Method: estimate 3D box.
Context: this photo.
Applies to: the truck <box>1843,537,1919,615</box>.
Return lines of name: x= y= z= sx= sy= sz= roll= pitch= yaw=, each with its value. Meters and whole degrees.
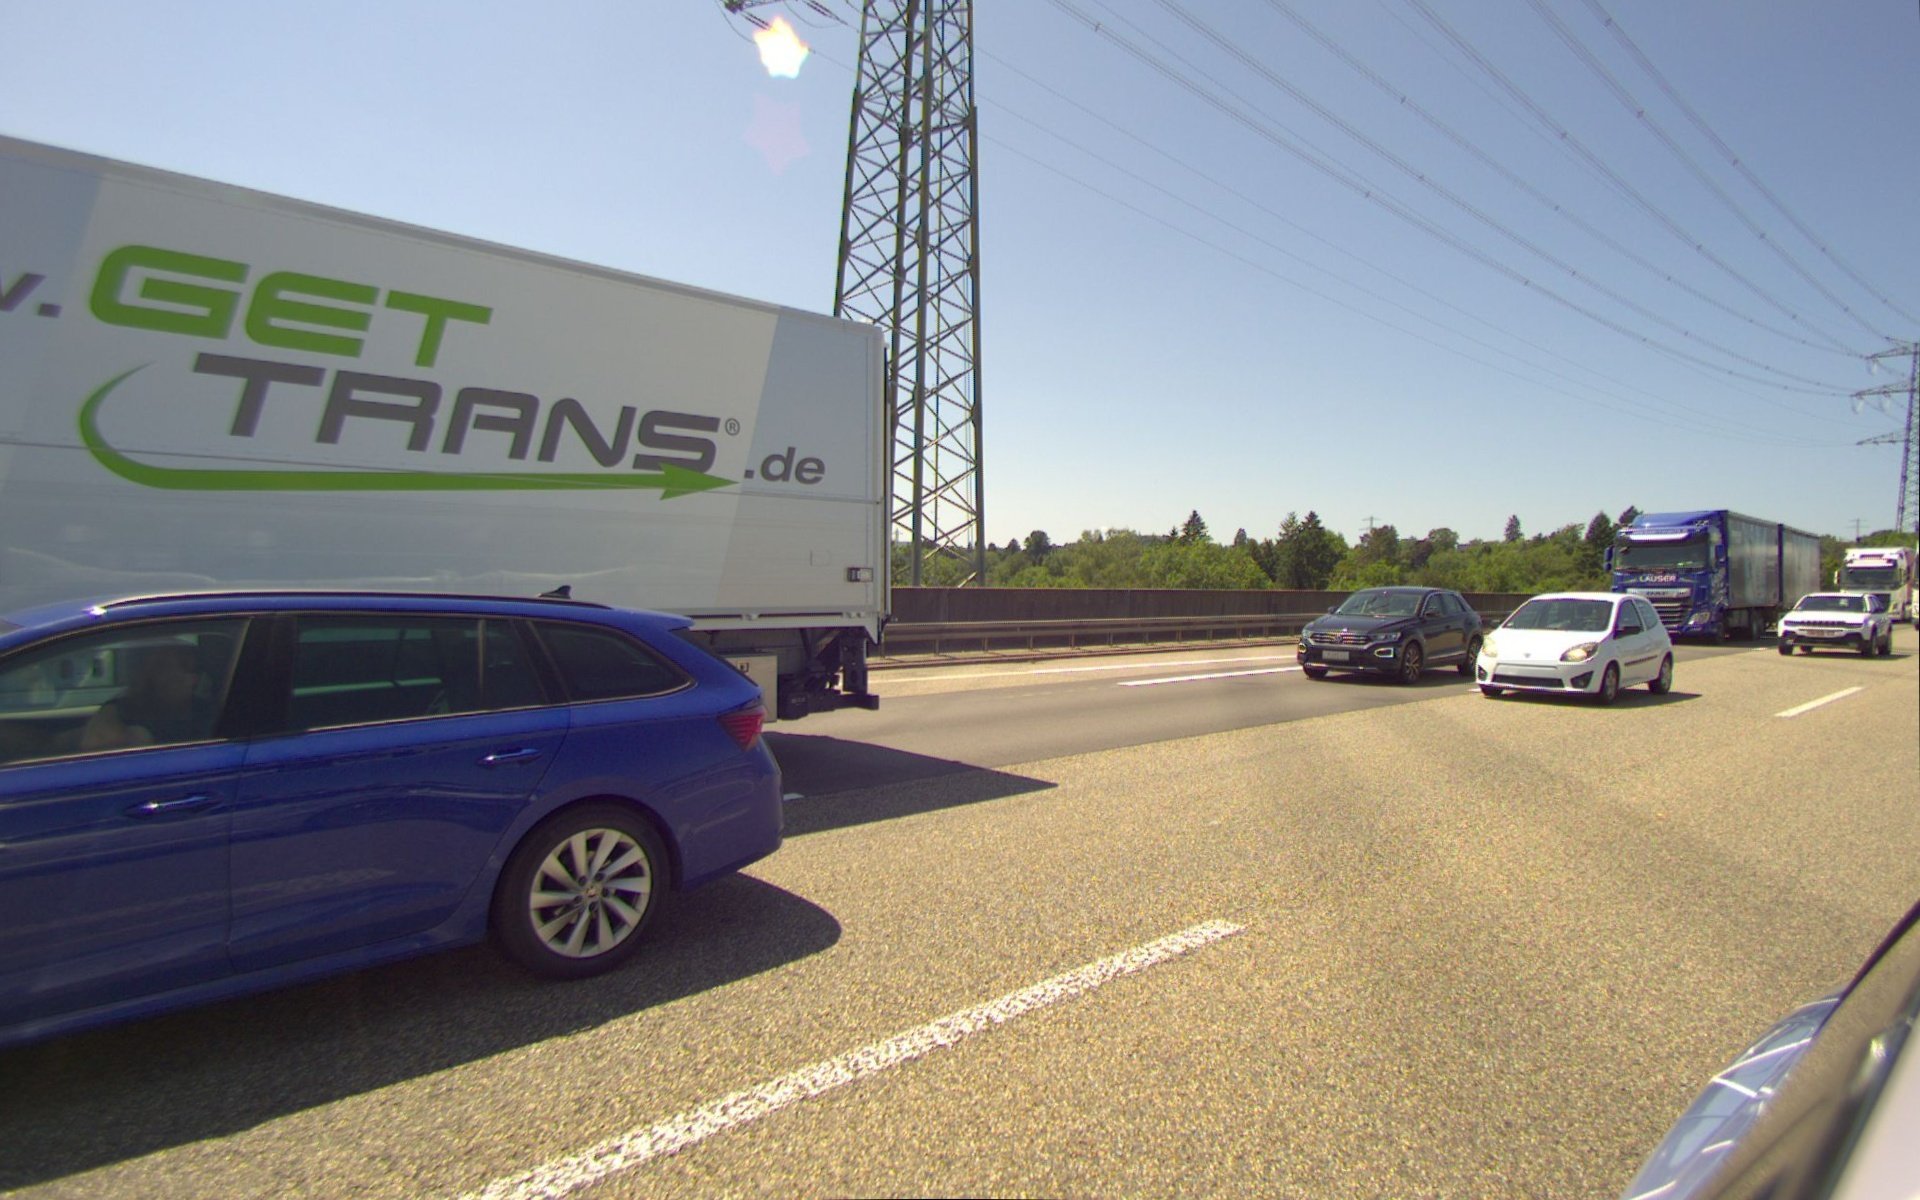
truck: x=50.301 y=-1.274 z=54.817 sx=6.625 sy=3.941 sz=2.911 roll=-1 pitch=1 yaw=-42

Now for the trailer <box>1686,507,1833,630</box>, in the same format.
trailer: x=30.045 y=-1.110 z=37.772 sx=10.699 sy=4.044 sz=2.540 roll=-1 pitch=1 yaw=-42

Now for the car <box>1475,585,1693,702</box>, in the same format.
car: x=8.944 y=0.531 z=14.419 sx=3.564 sy=1.458 sz=1.583 roll=0 pitch=1 yaw=-39

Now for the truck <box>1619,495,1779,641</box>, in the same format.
truck: x=23.181 y=-0.911 z=31.578 sx=7.791 sy=4.018 sz=2.514 roll=0 pitch=0 yaw=-42

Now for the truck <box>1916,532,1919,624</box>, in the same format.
truck: x=44.315 y=-0.990 z=44.387 sx=6.625 sy=3.941 sz=2.911 roll=-1 pitch=1 yaw=-42

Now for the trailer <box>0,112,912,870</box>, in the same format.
trailer: x=-4.370 y=-0.539 z=6.982 sx=8.149 sy=3.640 sz=2.848 roll=0 pitch=0 yaw=-42

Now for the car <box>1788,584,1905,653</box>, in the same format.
car: x=21.703 y=0.402 z=24.725 sx=3.688 sy=1.554 sz=1.720 roll=0 pitch=1 yaw=-42

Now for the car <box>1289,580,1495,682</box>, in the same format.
car: x=7.336 y=0.442 z=17.051 sx=3.821 sy=1.524 sz=1.708 roll=0 pitch=1 yaw=-41

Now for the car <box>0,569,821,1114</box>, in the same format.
car: x=-2.824 y=0.632 z=3.620 sx=4.422 sy=1.458 sz=1.713 roll=0 pitch=1 yaw=-41
